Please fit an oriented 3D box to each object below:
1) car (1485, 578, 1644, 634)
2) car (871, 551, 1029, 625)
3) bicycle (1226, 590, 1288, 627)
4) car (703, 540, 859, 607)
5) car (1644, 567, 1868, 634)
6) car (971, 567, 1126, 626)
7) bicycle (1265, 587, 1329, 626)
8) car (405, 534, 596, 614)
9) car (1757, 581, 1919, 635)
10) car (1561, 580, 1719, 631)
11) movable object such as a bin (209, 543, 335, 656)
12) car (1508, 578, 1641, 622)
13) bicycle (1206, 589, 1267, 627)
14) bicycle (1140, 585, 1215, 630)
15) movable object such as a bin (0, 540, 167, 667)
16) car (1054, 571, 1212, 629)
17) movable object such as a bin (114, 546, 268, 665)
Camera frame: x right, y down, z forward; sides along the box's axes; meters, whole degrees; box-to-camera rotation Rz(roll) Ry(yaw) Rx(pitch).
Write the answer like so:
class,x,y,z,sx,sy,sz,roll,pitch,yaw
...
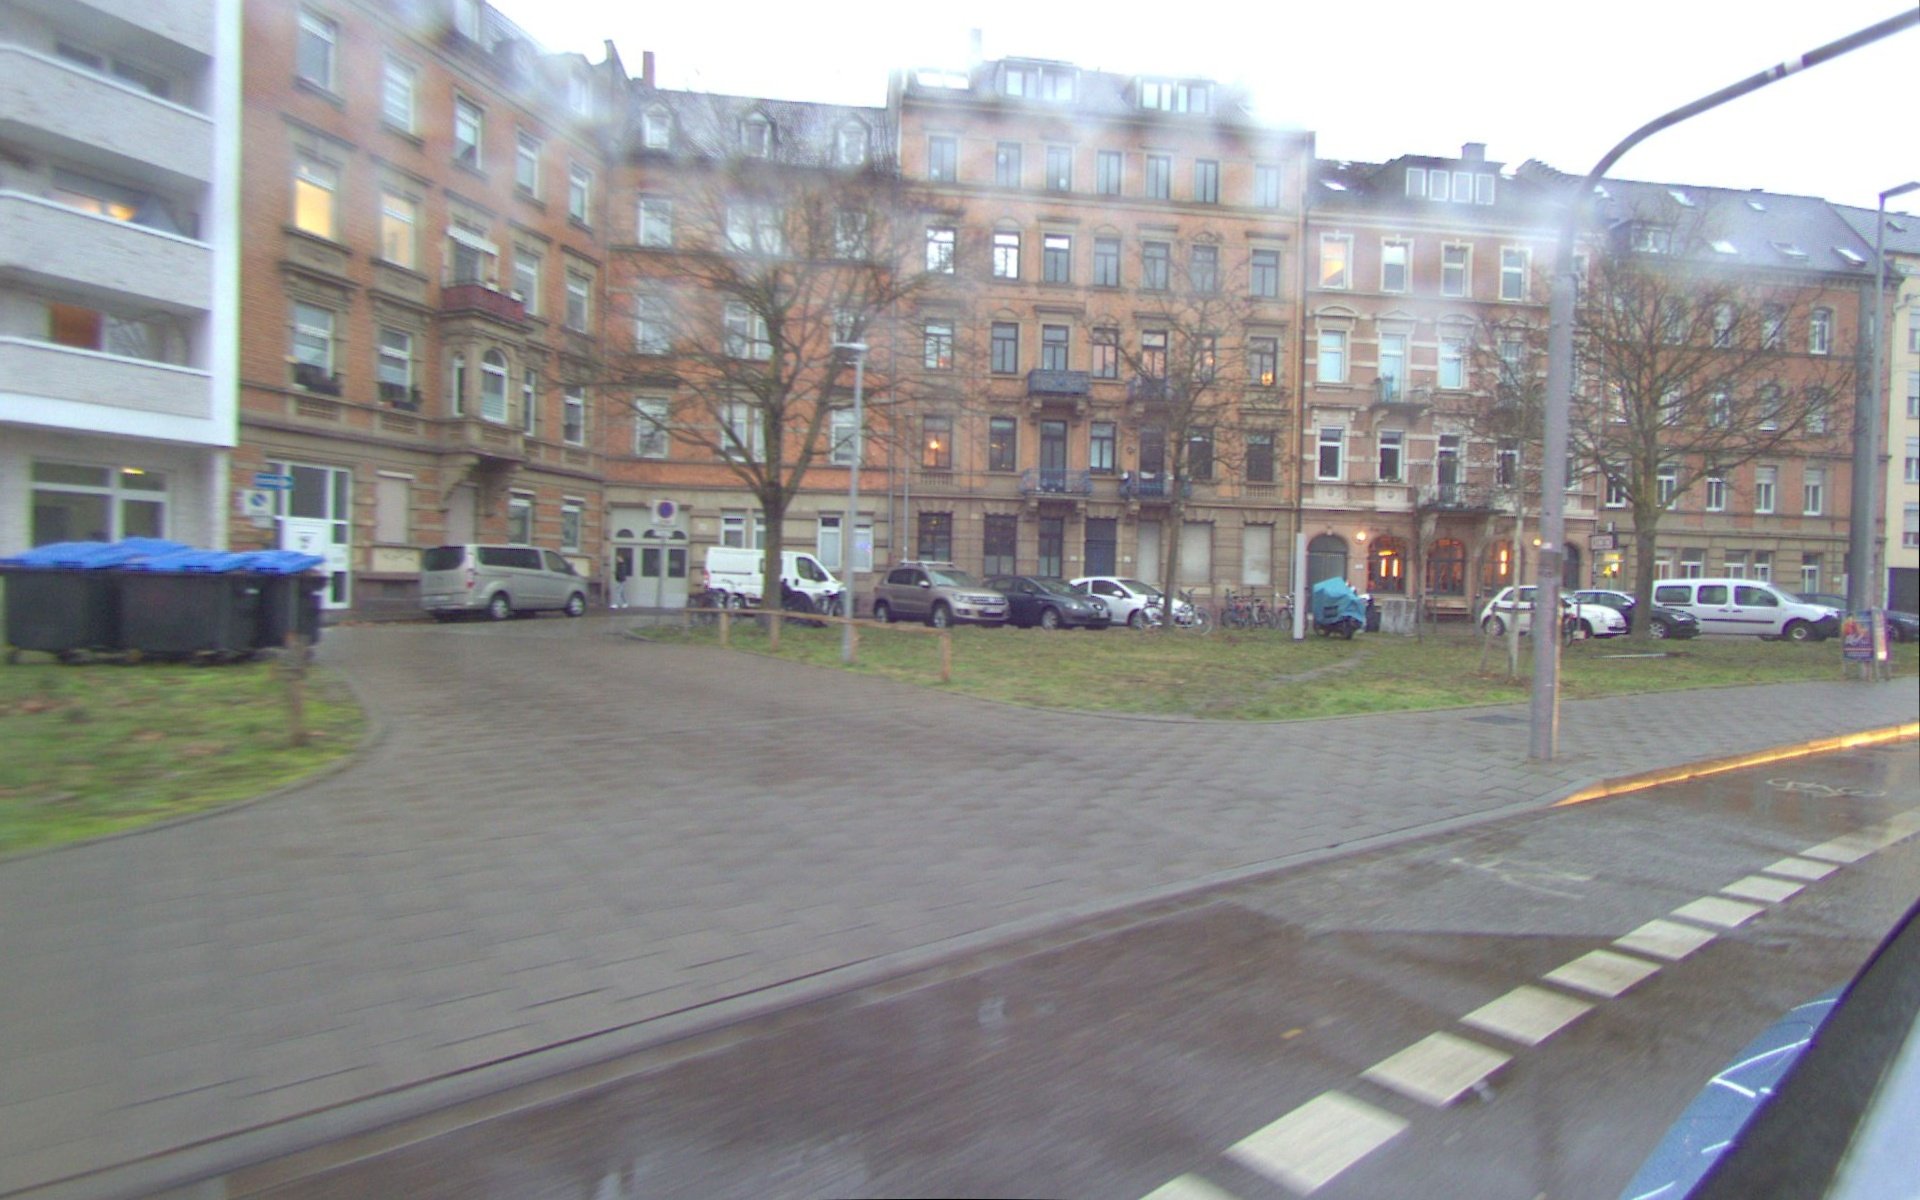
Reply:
class,x,y,z,sx,sy,sz,roll,pitch,yaw
car,16.668,0.167,28.034,1.583,1.461,3.466,1,-1,-35
car,-0.320,-0.370,25.273,1.908,1.656,3.999,-1,3,-38
bicycle,8.277,0.230,28.327,0.613,0.978,2.175,3,-1,-14
car,-5.870,-0.859,33.244,4.883,2.038,2.004,1,2,-11
car,22.469,-0.049,28.746,1.745,1.612,4.662,0,3,-38
car,2.174,-0.093,25.489,1.649,1.372,3.736,2,-1,-43
bicycle,9.402,0.161,28.360,0.613,0.978,2.176,1,2,-14
car,-12.227,-0.608,27.332,1.975,1.943,4.716,-1,-1,20
car,25.380,0.223,28.640,1.737,1.250,4.065,2,3,-36
car,19.305,0.124,28.813,1.634,1.368,3.429,1,0,-40
movable object such as a bin,-9.543,-0.002,14.078,1.022,1.509,1.036,0,-1,5
car,22.421,0.025,36.975,3.967,1.520,1.740,1,-1,-10
bicycle,7.660,0.209,28.133,0.613,0.978,2.175,3,-1,-14
bicycle,5.018,0.169,23.356,1.628,0.948,0.512,2,1,14
movable object such as a bin,-11.030,0.034,12.730,1.302,1.514,1.032,1,1,-4
car,4.445,-0.034,26.410,1.669,1.353,3.851,0,1,-42
movable object such as a bin,-9.787,0.050,12.932,1.200,1.433,1.018,2,2,-4
